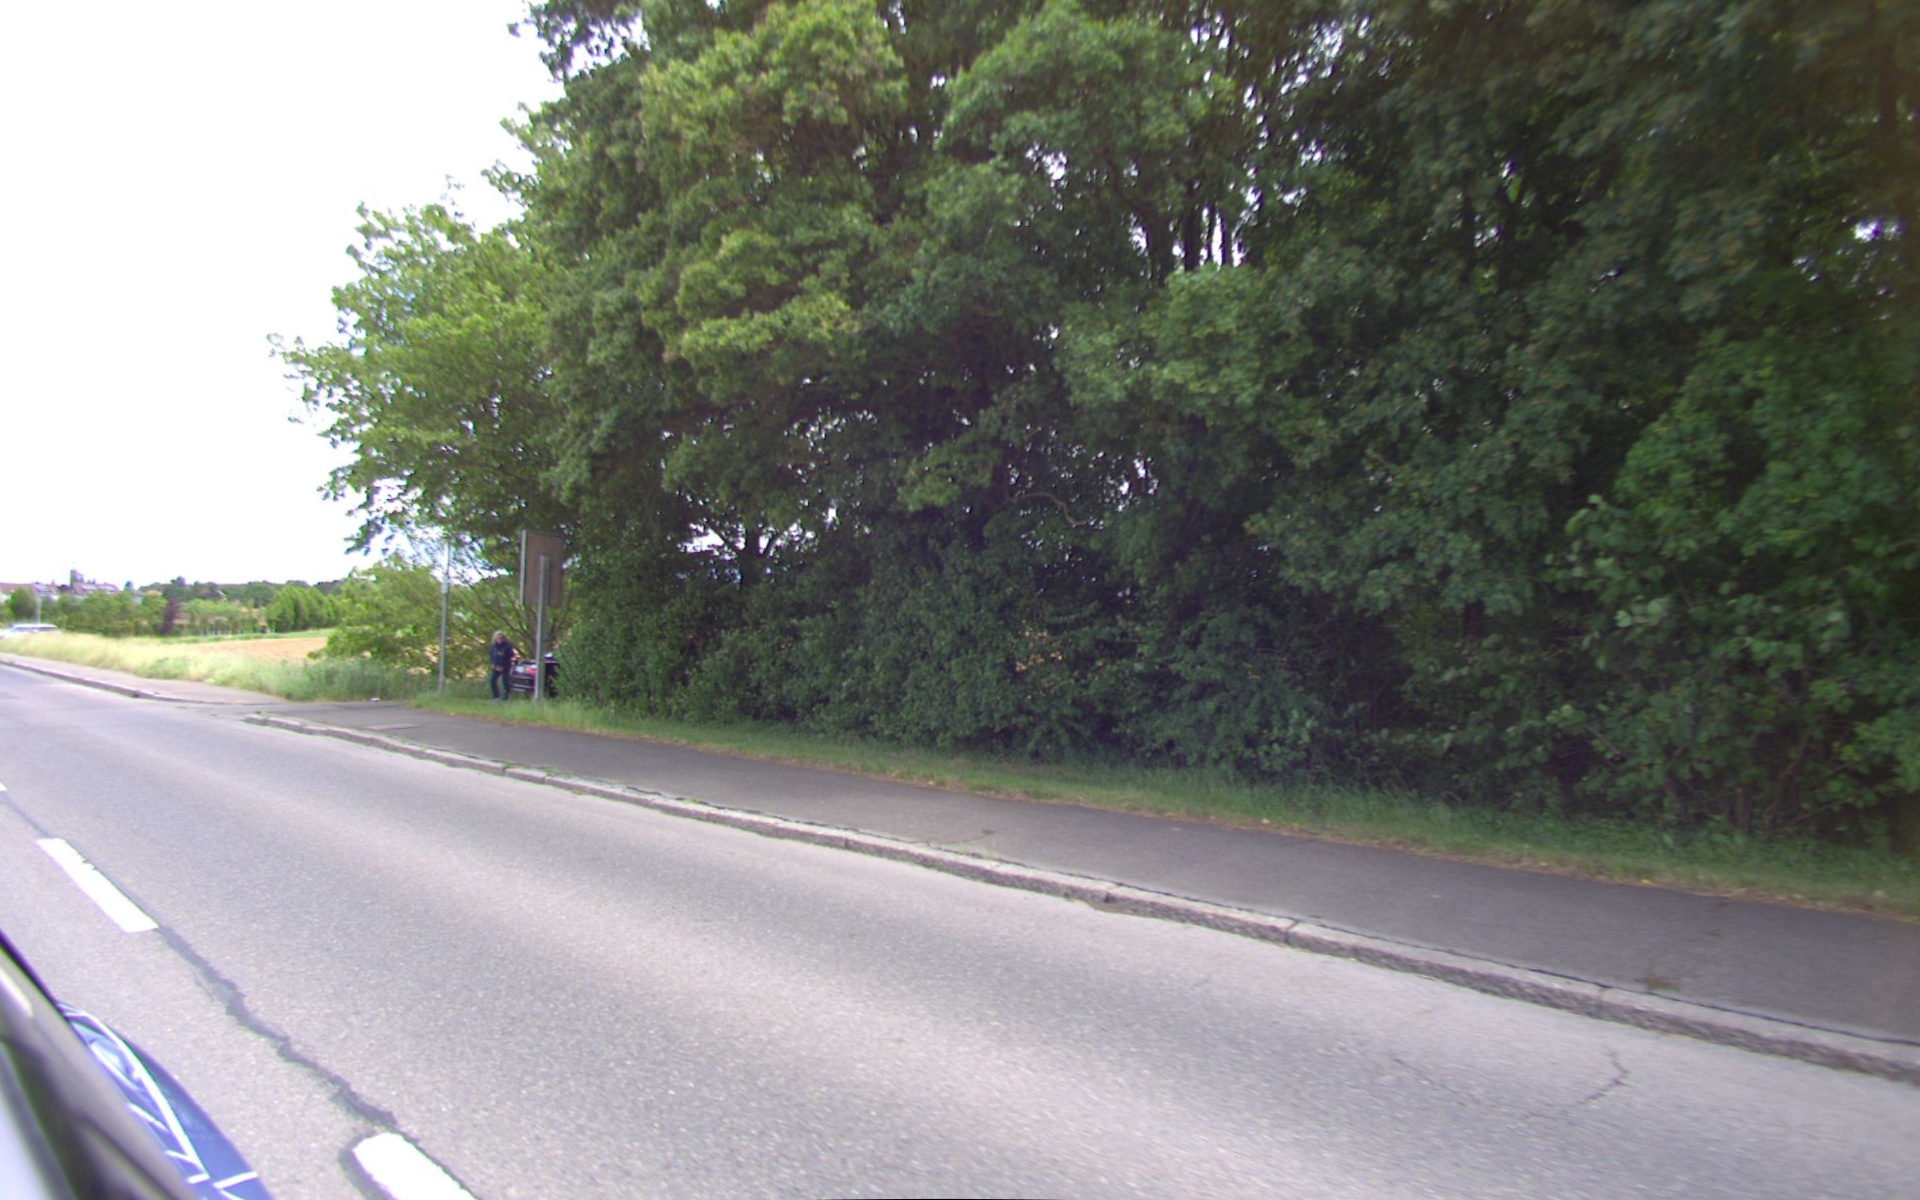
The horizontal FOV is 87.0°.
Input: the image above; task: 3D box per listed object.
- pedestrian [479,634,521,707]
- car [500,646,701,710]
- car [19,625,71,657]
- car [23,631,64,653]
[{"bbox_3d":[-10.480,1.597,23.057,0.695,1.606,0.708,2,-4,-38],"label":"pedestrian"},{"bbox_3d":[-8.206,1.795,23.302,3.938,1.321,1.746,5,-4,-42],"label":"car"},{"bbox_3d":[-44.846,1.993,49.572,3.867,1.459,1.453,-1,0,41],"label":"car"},{"bbox_3d":[-56.205,2.549,62.040,3.598,1.260,1.433,-1,0,41],"label":"car"}]
